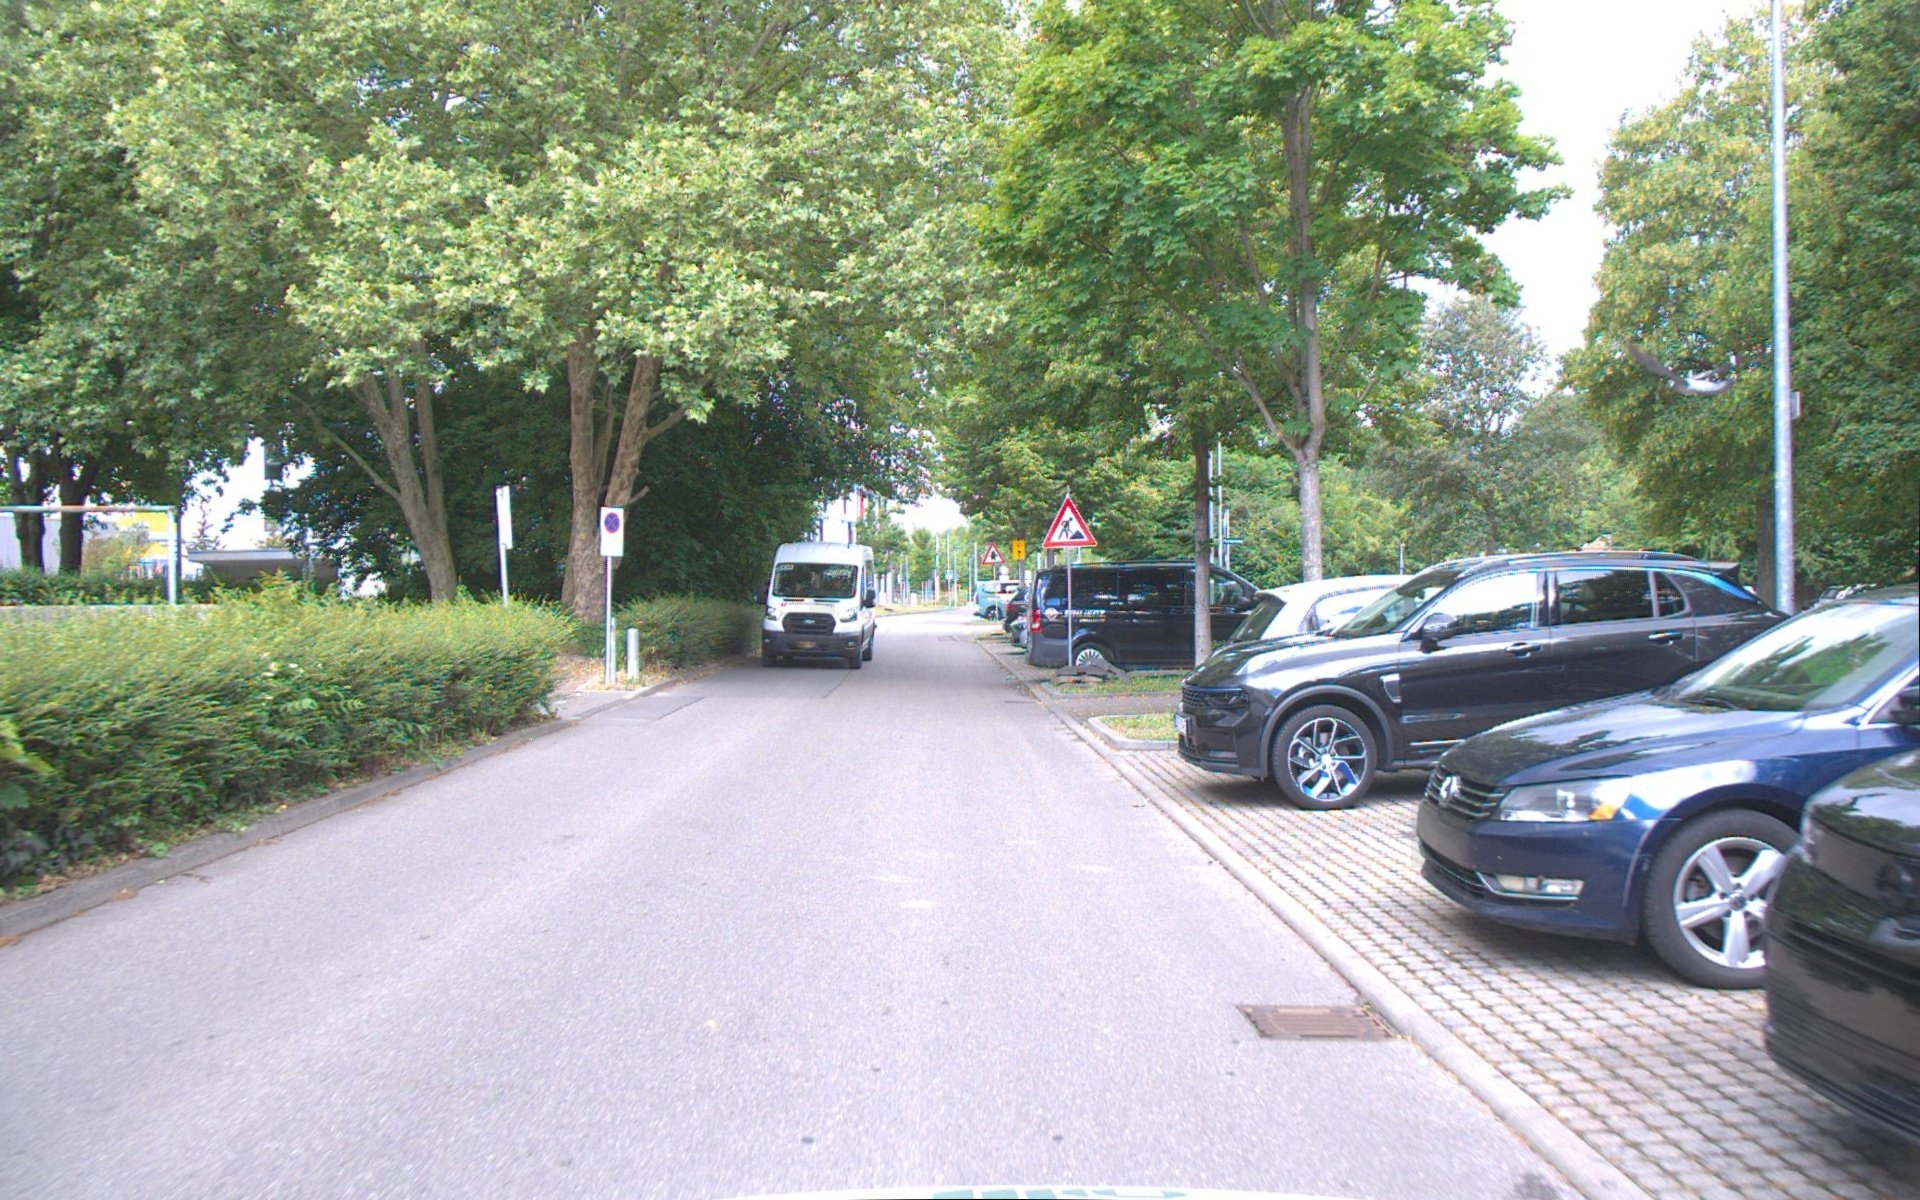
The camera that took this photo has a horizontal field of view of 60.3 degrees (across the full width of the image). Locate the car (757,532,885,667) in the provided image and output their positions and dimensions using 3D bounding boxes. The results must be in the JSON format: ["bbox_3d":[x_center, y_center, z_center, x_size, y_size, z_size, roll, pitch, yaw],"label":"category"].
[{"bbox_3d":[-2.760,-0.026,34.369,2.088,2.519,6.277,1,0,0],"label":"car"}]

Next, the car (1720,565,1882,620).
[{"bbox_3d":[32.705,-0.292,64.422,5.206,2.093,2.139,0,0,5],"label":"car"}]

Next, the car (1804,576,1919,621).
[{"bbox_3d":[32.436,-0.049,58.569,4.192,1.553,1.704,-1,0,5],"label":"car"}]

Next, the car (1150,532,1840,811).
[{"bbox_3d":[3.718,0.459,12.111,4.326,1.705,2.082,-2,1,-2],"label":"car"}]

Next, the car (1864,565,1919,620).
[{"bbox_3d":[38.177,-0.309,64.004,5.206,2.093,2.139,0,0,5],"label":"car"}]

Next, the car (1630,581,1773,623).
[{"bbox_3d":[26.465,0.067,59.159,4.335,1.453,1.704,-1,0,5],"label":"car"}]

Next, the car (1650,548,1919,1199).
[{"bbox_3d":[4.066,0.588,4.013,3.993,1.544,1.849,-2,0,-5],"label":"car"}]

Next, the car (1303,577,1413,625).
[{"bbox_3d":[14.498,0.040,60.438,3.699,1.697,1.769,-1,0,6],"label":"car"}]

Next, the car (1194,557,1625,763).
[{"bbox_3d":[3.905,0.486,14.769,3.310,1.602,1.796,-2,1,-1],"label":"car"}]

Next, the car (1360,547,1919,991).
[{"bbox_3d":[4.209,0.547,6.970,4.541,1.543,1.983,-2,1,0],"label":"car"}]

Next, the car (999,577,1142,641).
[{"bbox_3d":[3.188,0.261,48.132,4.038,1.678,1.980,-2,-1,2],"label":"car"}]

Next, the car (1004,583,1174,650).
[{"bbox_3d":[3.095,0.405,40.274,3.907,1.455,1.935,-2,-1,-2],"label":"car"}]

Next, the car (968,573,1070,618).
[{"bbox_3d":[2.852,-0.215,80.866,4.871,2.006,1.846,-2,0,0],"label":"car"}]

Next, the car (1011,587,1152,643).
[{"bbox_3d":[3.321,0.410,45.488,3.752,1.382,1.822,-2,-1,2],"label":"car"}]

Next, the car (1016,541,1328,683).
[{"bbox_3d":[3.434,0.181,27.611,4.853,2.048,2.166,-3,0,0],"label":"car"}]

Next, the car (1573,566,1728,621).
[{"bbox_3d":[27.050,-0.256,64.961,5.206,2.093,2.139,0,0,5],"label":"car"}]
